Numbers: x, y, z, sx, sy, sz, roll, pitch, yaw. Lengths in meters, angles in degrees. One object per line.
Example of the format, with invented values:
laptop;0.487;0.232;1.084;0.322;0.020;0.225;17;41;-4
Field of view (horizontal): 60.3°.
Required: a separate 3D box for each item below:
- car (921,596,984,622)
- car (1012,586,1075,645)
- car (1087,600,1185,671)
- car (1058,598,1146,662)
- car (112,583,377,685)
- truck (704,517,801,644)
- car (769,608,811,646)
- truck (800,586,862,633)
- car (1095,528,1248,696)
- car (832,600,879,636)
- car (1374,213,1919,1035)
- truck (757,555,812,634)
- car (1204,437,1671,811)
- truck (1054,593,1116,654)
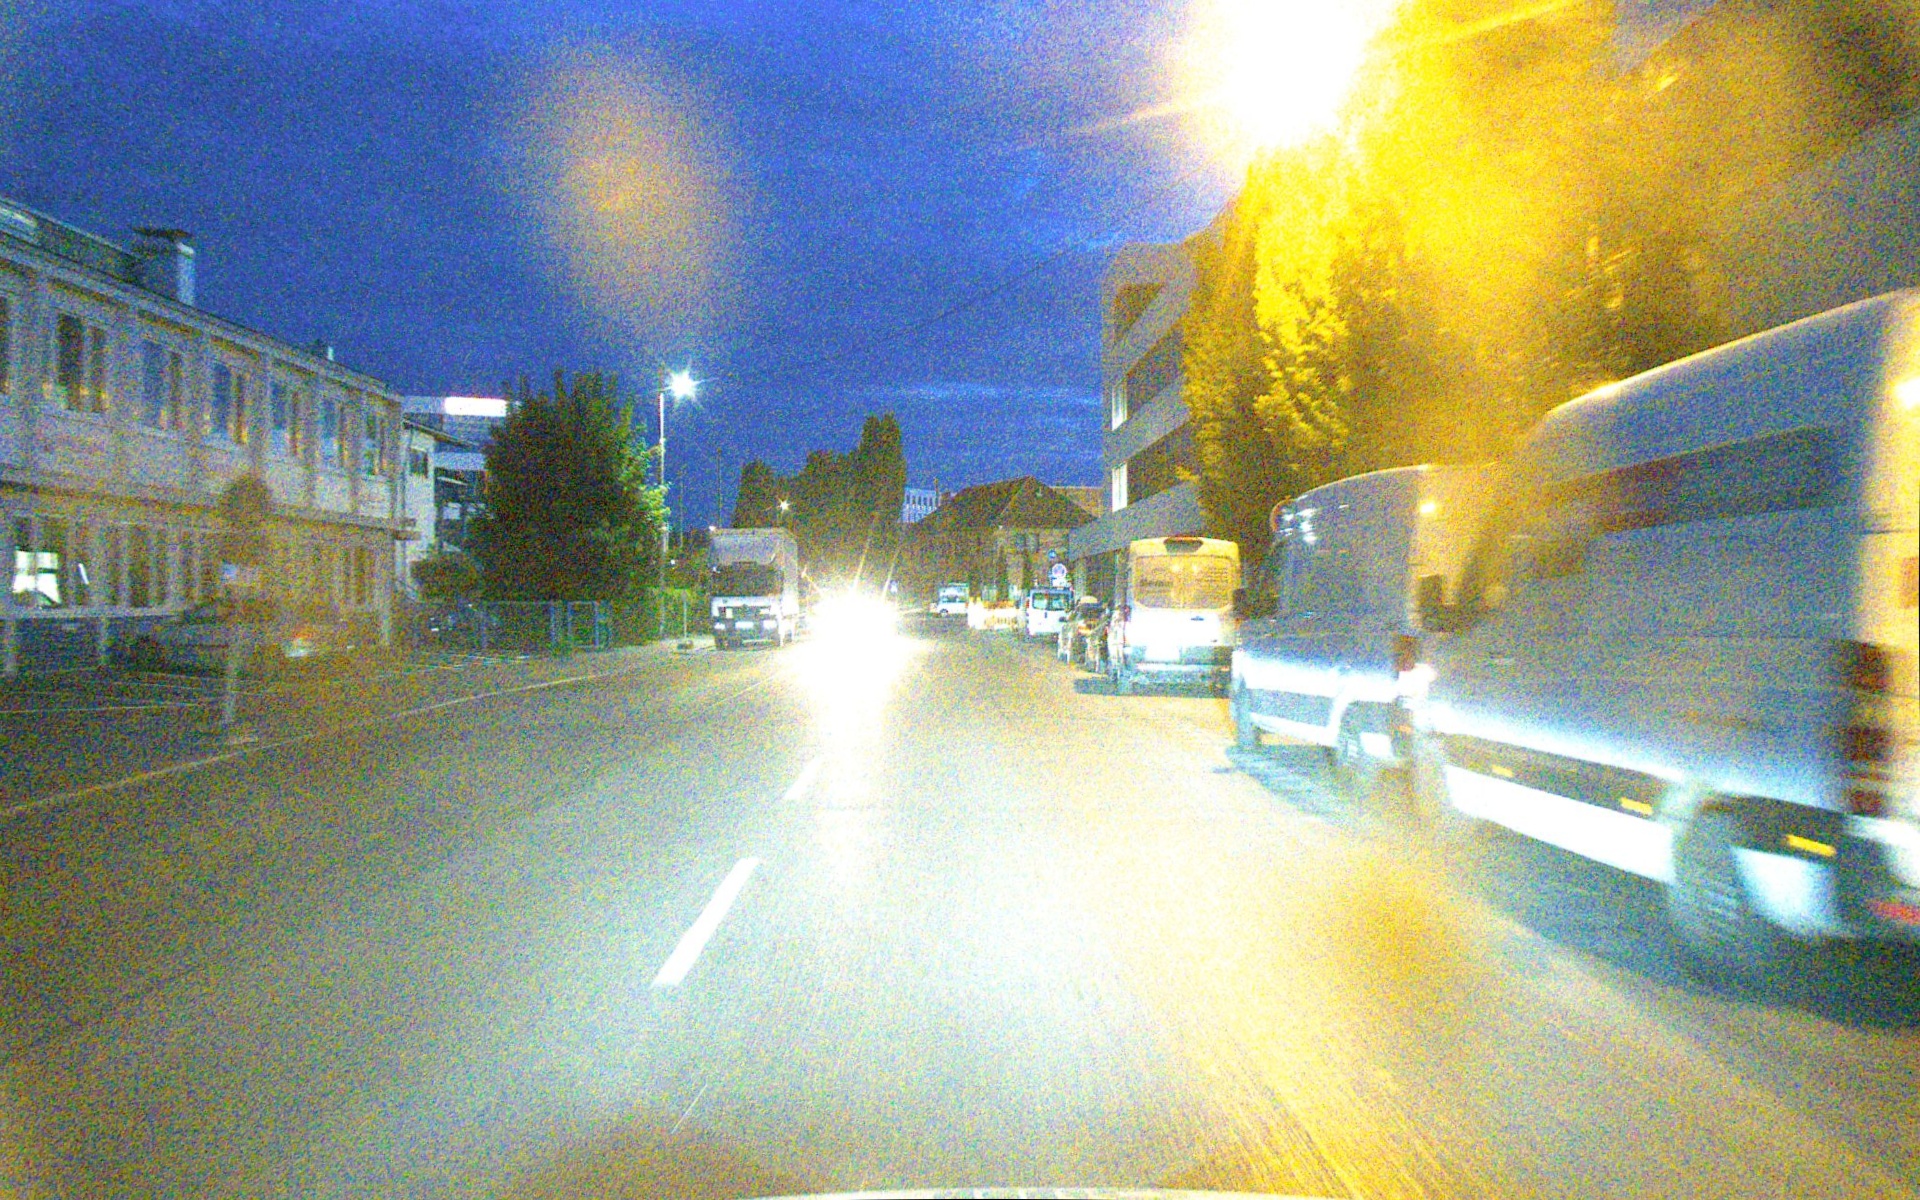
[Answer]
car;-0.571;0.661;123.391;4.268;1.675;1.879;-3;1;-23
car;3.046;0.567;61.074;1.953;2.049;4.910;-1;0;-1
car;3.723;0.722;35.667;1.733;1.437;4.551;0;0;1
car;3.520;0.729;41.816;1.906;1.515;5.011;0;0;1
car;-12.857;0.579;29.775;4.042;1.457;1.897;4;1;17
truck;-7.182;-0.602;58.406;2.691;4.105;9.554;0;0;-3
car;-7.919;1.239;77.326;1.906;1.747;5.192;0;0;-5
truck;-10.996;0.854;140.238;2.716;3.849;9.077;0;-1;-21
car;3.591;0.203;29.148;1.952;2.570;5.910;3;0;1
car;-4.294;0.743;68.313;1.820;1.445;3.998;0;-1;-2
car;3.912;0.130;8.299;1.953;2.616;6.012;3;0;-1
truck;-9.825;-0.261;91.886;2.720;4.192;9.323;0;0;-8
car;3.911;0.188;14.954;2.086;2.616;5.904;3;0;-4
truck;3.534;0.654;47.090;1.342;1.673;3.810;0;-1;-2
